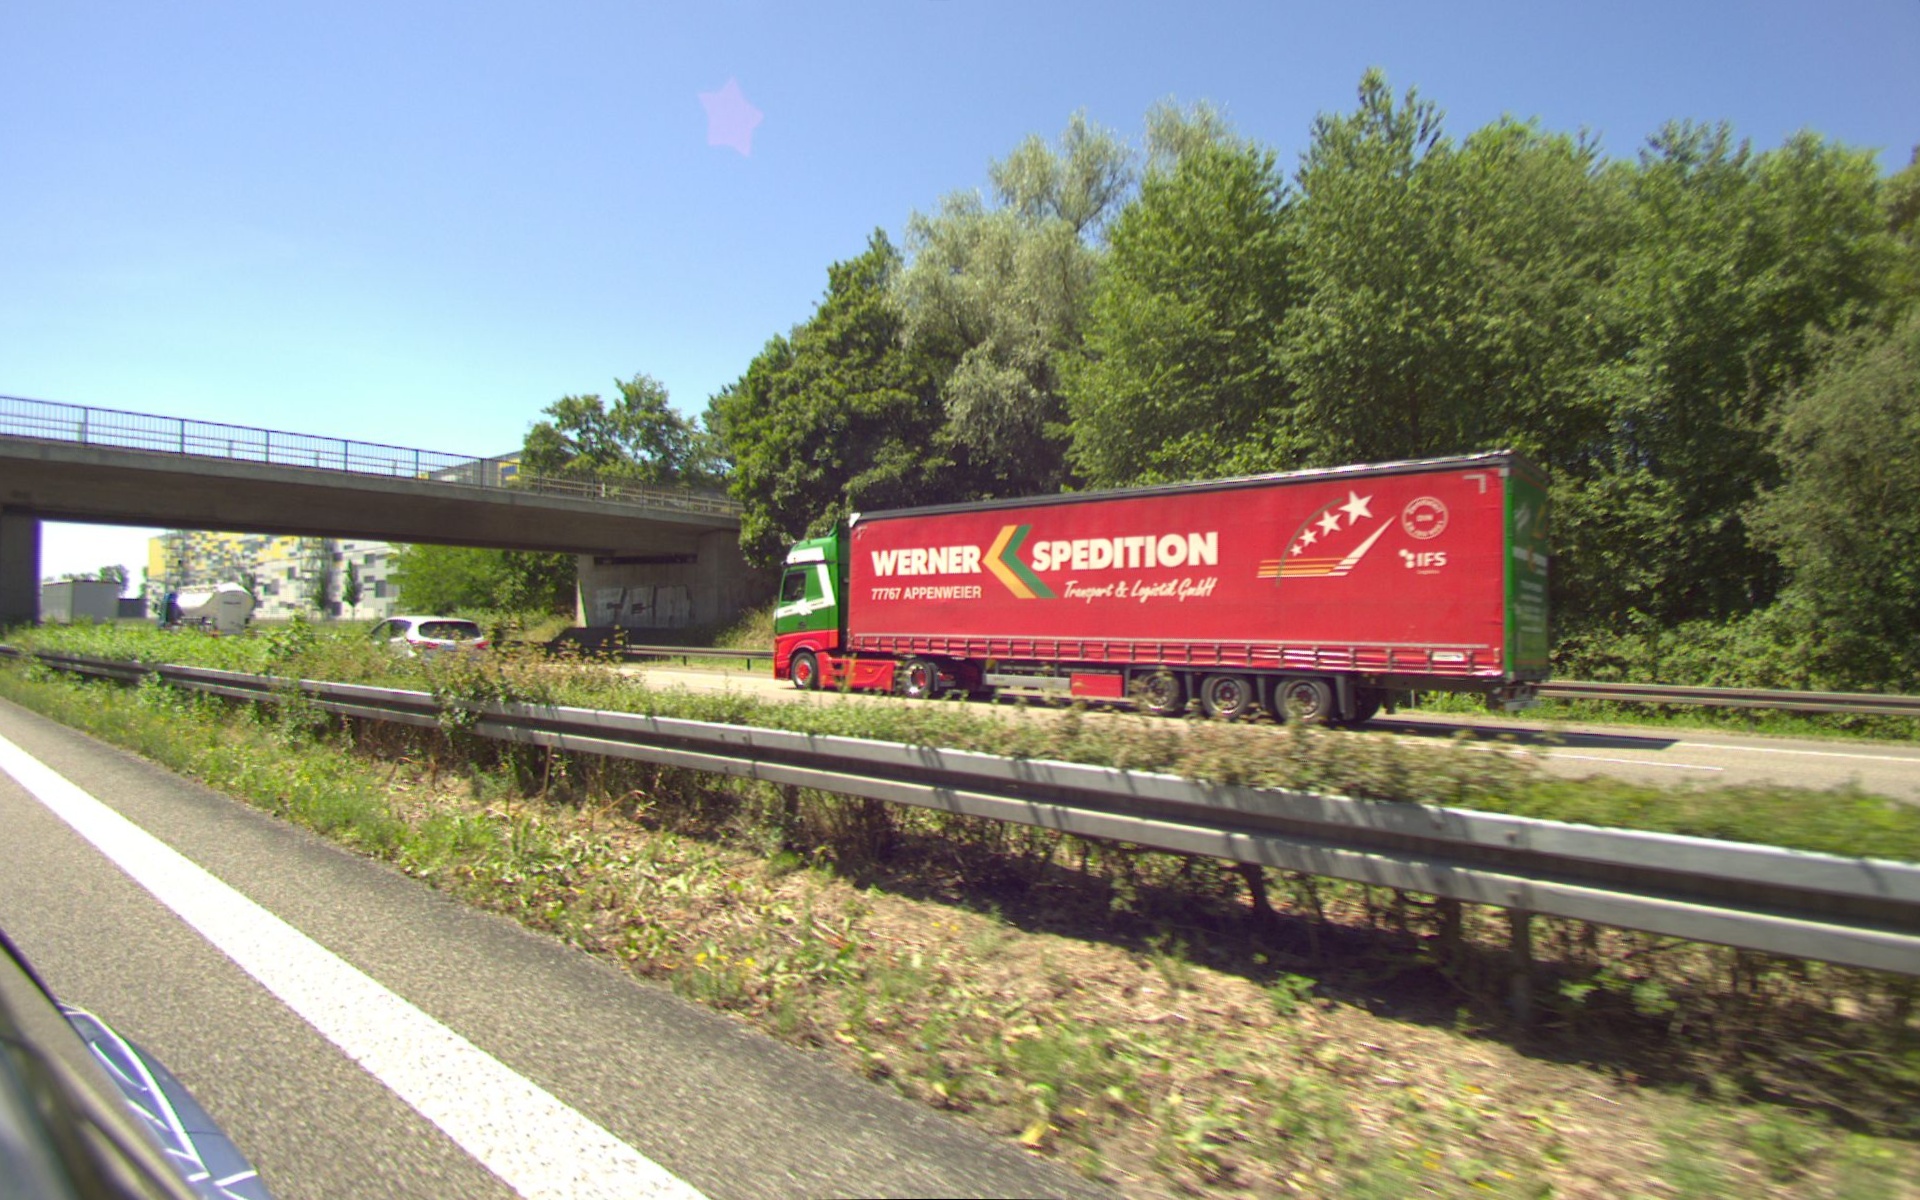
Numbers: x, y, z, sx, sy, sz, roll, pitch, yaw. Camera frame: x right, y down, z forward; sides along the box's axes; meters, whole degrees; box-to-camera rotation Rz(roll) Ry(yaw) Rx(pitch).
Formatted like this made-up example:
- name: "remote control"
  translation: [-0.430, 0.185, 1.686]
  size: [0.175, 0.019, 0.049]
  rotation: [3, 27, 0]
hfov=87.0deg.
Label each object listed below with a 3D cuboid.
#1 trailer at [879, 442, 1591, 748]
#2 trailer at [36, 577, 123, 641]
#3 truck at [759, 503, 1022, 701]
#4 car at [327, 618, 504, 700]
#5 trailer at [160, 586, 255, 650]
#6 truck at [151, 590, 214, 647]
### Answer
- name: "trailer"
  translation: [4.099, 0.028, 18.916]
  size: [12.734, 4.090, 3.183]
  rotation: [-1, -2, 41]
- name: "trailer"
  translation: [-63.935, 0.730, 73.317]
  size: [13.829, 4.257, 2.799]
  rotation: [-1, -3, 41]
- name: "truck"
  translation: [-1.716, 0.103, 23.975]
  size: [5.615, 4.090, 3.184]
  rotation: [-1, -2, 41]
- name: "car"
  translation: [-11.410, 1.158, 21.078]
  size: [4.514, 1.523, 1.651]
  rotation: [-1, -2, 39]
- name: "trailer"
  translation: [-48.787, 1.201, 65.415]
  size: [12.069, 3.823, 2.334]
  rotation: [-1, -3, 41]
- name: "truck"
  translation: [-53.383, 1.305, 69.471]
  size: [5.249, 3.804, 2.335]
  rotation: [-1, -3, 41]
